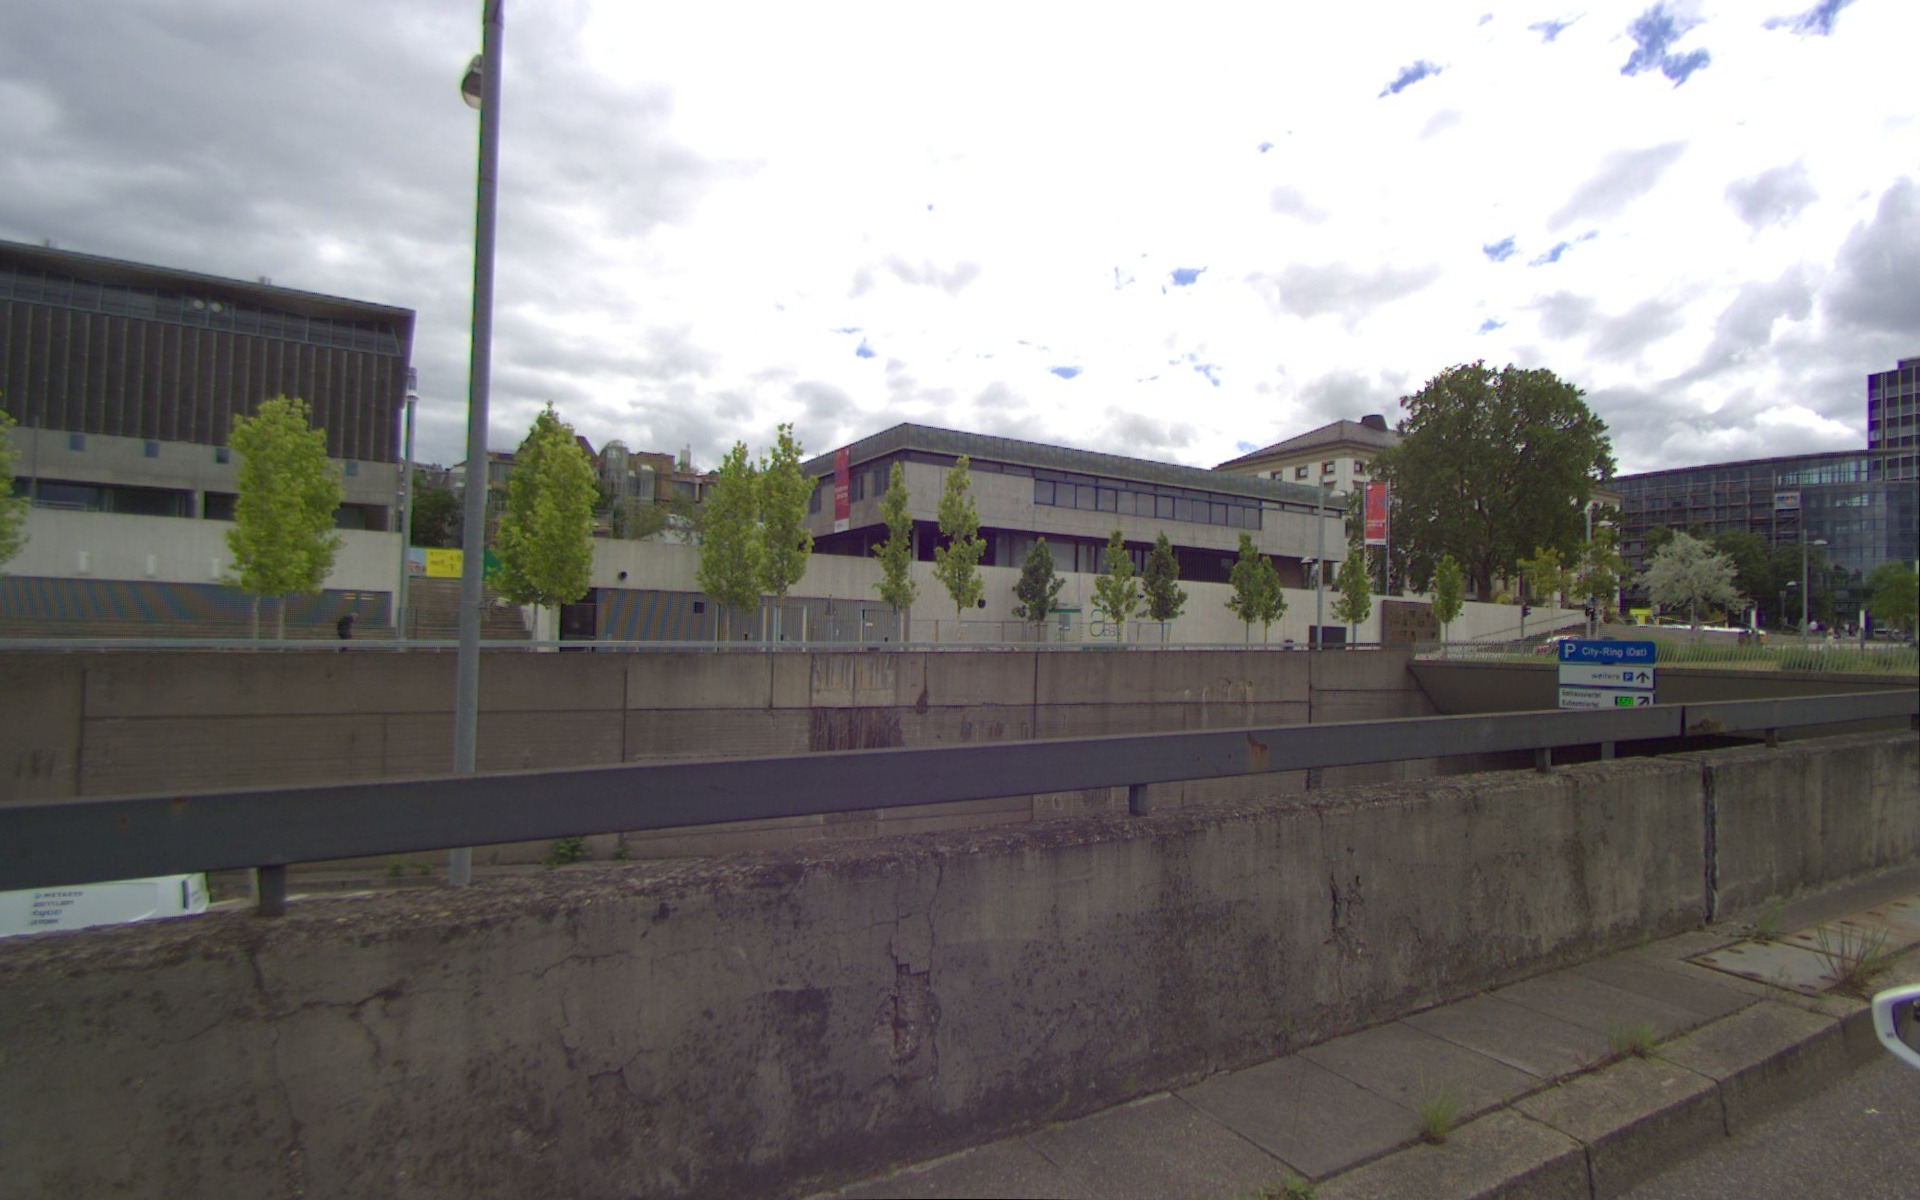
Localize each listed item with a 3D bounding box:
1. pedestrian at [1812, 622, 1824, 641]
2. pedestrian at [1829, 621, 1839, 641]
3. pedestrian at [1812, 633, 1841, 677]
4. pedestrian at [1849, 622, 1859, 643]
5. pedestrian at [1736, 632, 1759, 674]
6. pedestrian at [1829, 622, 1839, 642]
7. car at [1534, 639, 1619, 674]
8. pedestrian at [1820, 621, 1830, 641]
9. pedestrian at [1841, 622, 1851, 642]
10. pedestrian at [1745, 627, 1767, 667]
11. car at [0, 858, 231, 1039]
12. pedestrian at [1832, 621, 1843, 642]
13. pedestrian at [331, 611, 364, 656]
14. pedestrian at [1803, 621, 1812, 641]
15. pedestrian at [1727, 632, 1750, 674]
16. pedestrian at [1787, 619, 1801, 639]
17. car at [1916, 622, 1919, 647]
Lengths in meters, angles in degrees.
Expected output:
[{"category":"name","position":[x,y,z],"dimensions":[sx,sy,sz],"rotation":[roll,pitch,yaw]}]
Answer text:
[{"category":"pedestrian","position":[93.380,3.434,109.363],"dimensions":[0.783,2.040,0.735],"rotation":[0,-1,-29]},{"category":"pedestrian","position":[89.847,3.235,103.278],"dimensions":[0.730,2.040,0.789],"rotation":[-1,-1,40]},{"category":"pedestrian","position":[40.264,2.541,46.675],"dimensions":[0.622,2.040,0.856],"rotation":[0,-1,-30]},{"category":"pedestrian","position":[91.292,3.305,102.549],"dimensions":[0.730,2.040,1.109],"rotation":[-1,-1,40]},{"category":"pedestrian","position":[38.865,2.615,49.609],"dimensions":[0.779,2.040,0.834],"rotation":[-1,-1,33]},{"category":"pedestrian","position":[90.645,3.283,104.204],"dimensions":[0.730,2.040,0.789],"rotation":[-1,-1,40]},{"category":"car","position":[34.436,3.118,56.092],"dimensions":[4.681,1.879,2.164],"rotation":[1,-2,-31]},{"category":"pedestrian","position":[88.371,3.159,102.625],"dimensions":[0.730,2.040,1.109],"rotation":[-1,-1,40]},{"category":"pedestrian","position":[91.363,3.310,103.578],"dimensions":[0.730,2.040,0.789],"rotation":[-1,-1,40]},{"category":"pedestrian","position":[41.993,2.484,52.989],"dimensions":[0.623,2.040,0.724],"rotation":[-5,2,-37]},{"category":"car","position":[-11.917,4.162,11.787],"dimensions":[5.192,1.659,1.985],"rotation":[4,-9,-32]},{"category":"pedestrian","position":[89.181,3.191,102.092],"dimensions":[0.730,2.040,0.789],"rotation":[-1,-1,40]},{"category":"pedestrian","position":[-22.992,1.238,37.707],"dimensions":[0.777,1.664,0.740],"rotation":[-1,-1,-3]},{"category":"pedestrian","position":[89.621,3.256,106.241],"dimensions":[0.730,2.040,0.789],"rotation":[-1,-1,40]},{"category":"pedestrian","position":[38.119,2.575,49.212],"dimensions":[0.779,2.040,0.834],"rotation":[-1,-1,33]},{"category":"pedestrian","position":[83.186,2.889,100.206],"dimensions":[1.103,2.040,0.733],"rotation":[0,-1,-35]},{"category":"car","position":[81.668,2.857,83.470],"dimensions":[4.635,2.040,1.985],"rotation":[0,-1,-30]}]
